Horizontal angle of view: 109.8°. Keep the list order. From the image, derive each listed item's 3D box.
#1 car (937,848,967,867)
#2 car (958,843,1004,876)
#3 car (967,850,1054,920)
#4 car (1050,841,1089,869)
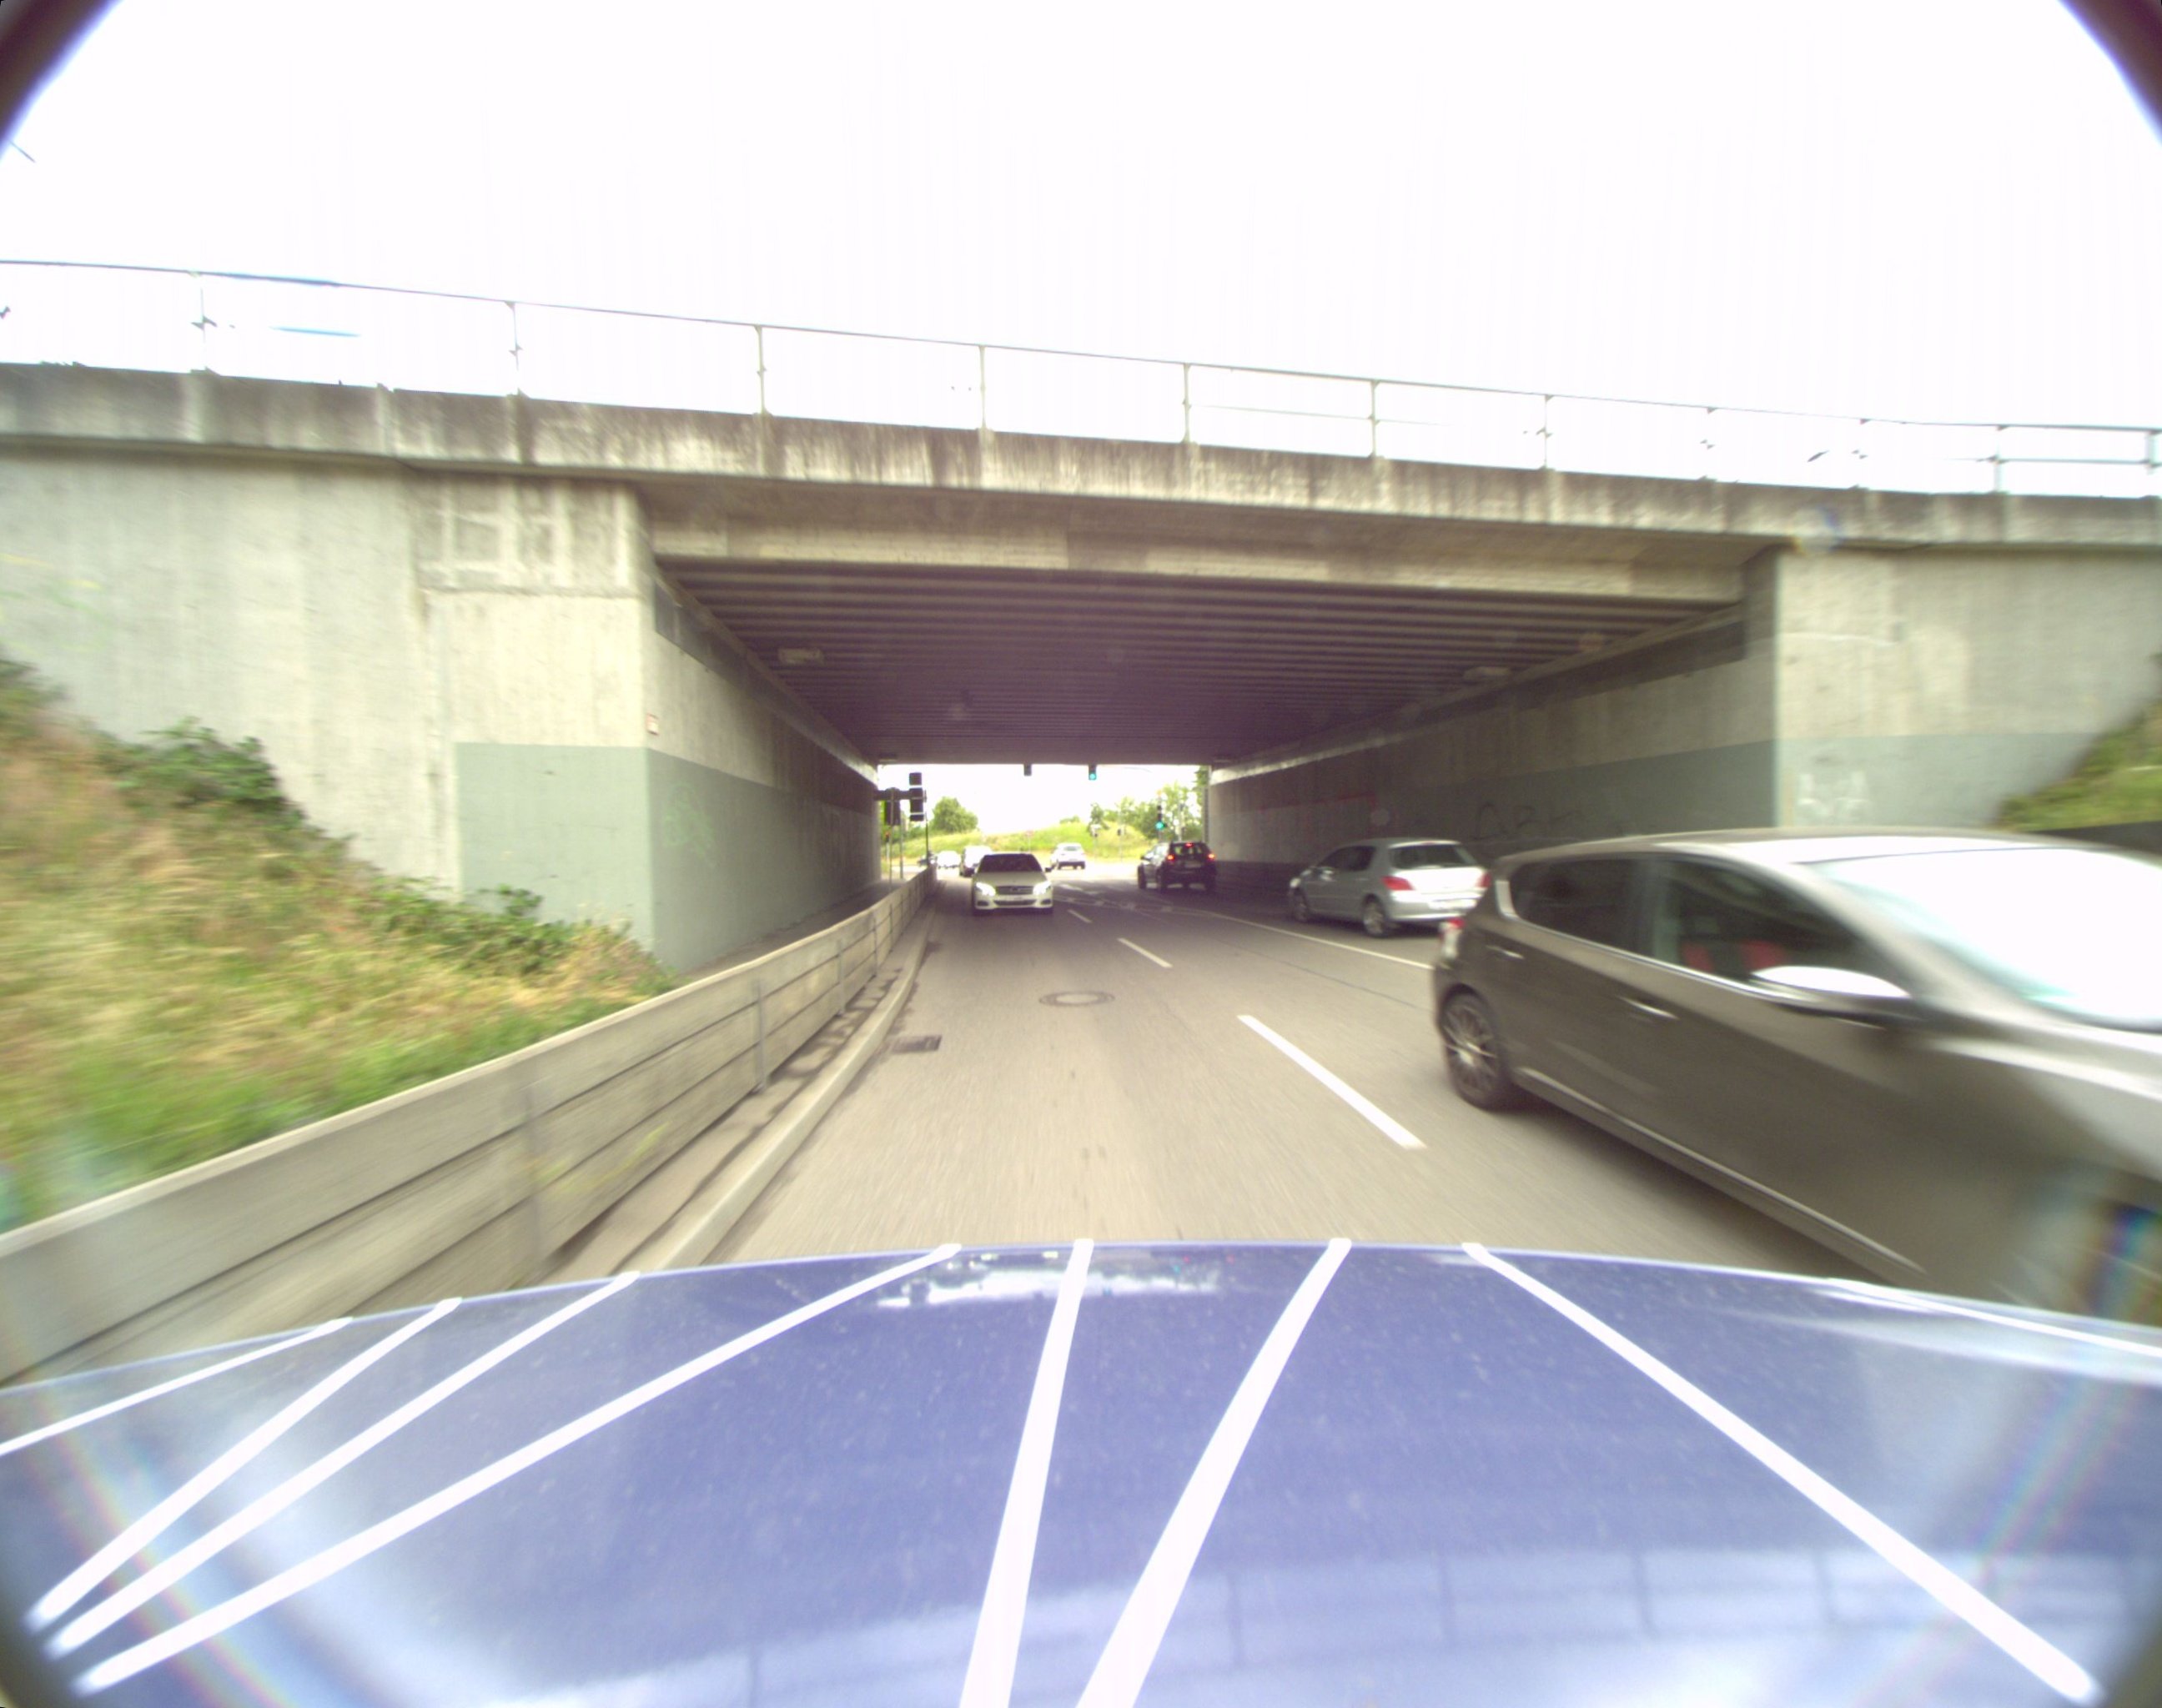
[{"bbox_3d":[-11.323,0.341,66.714,1.583,1.548,3.010,-3,1,-29],"label":"car"},{"bbox_3d":[-5.154,0.282,38.865,1.825,1.536,3.721,-3,1,-15],"label":"car"},{"bbox_3d":[-1.675,0.683,18.889,1.888,1.414,3.997,-2,2,-3],"label":"car"},{"bbox_3d":[-0.799,0.029,49.853,1.789,1.651,4.104,-3,1,-11],"label":"car"}]
